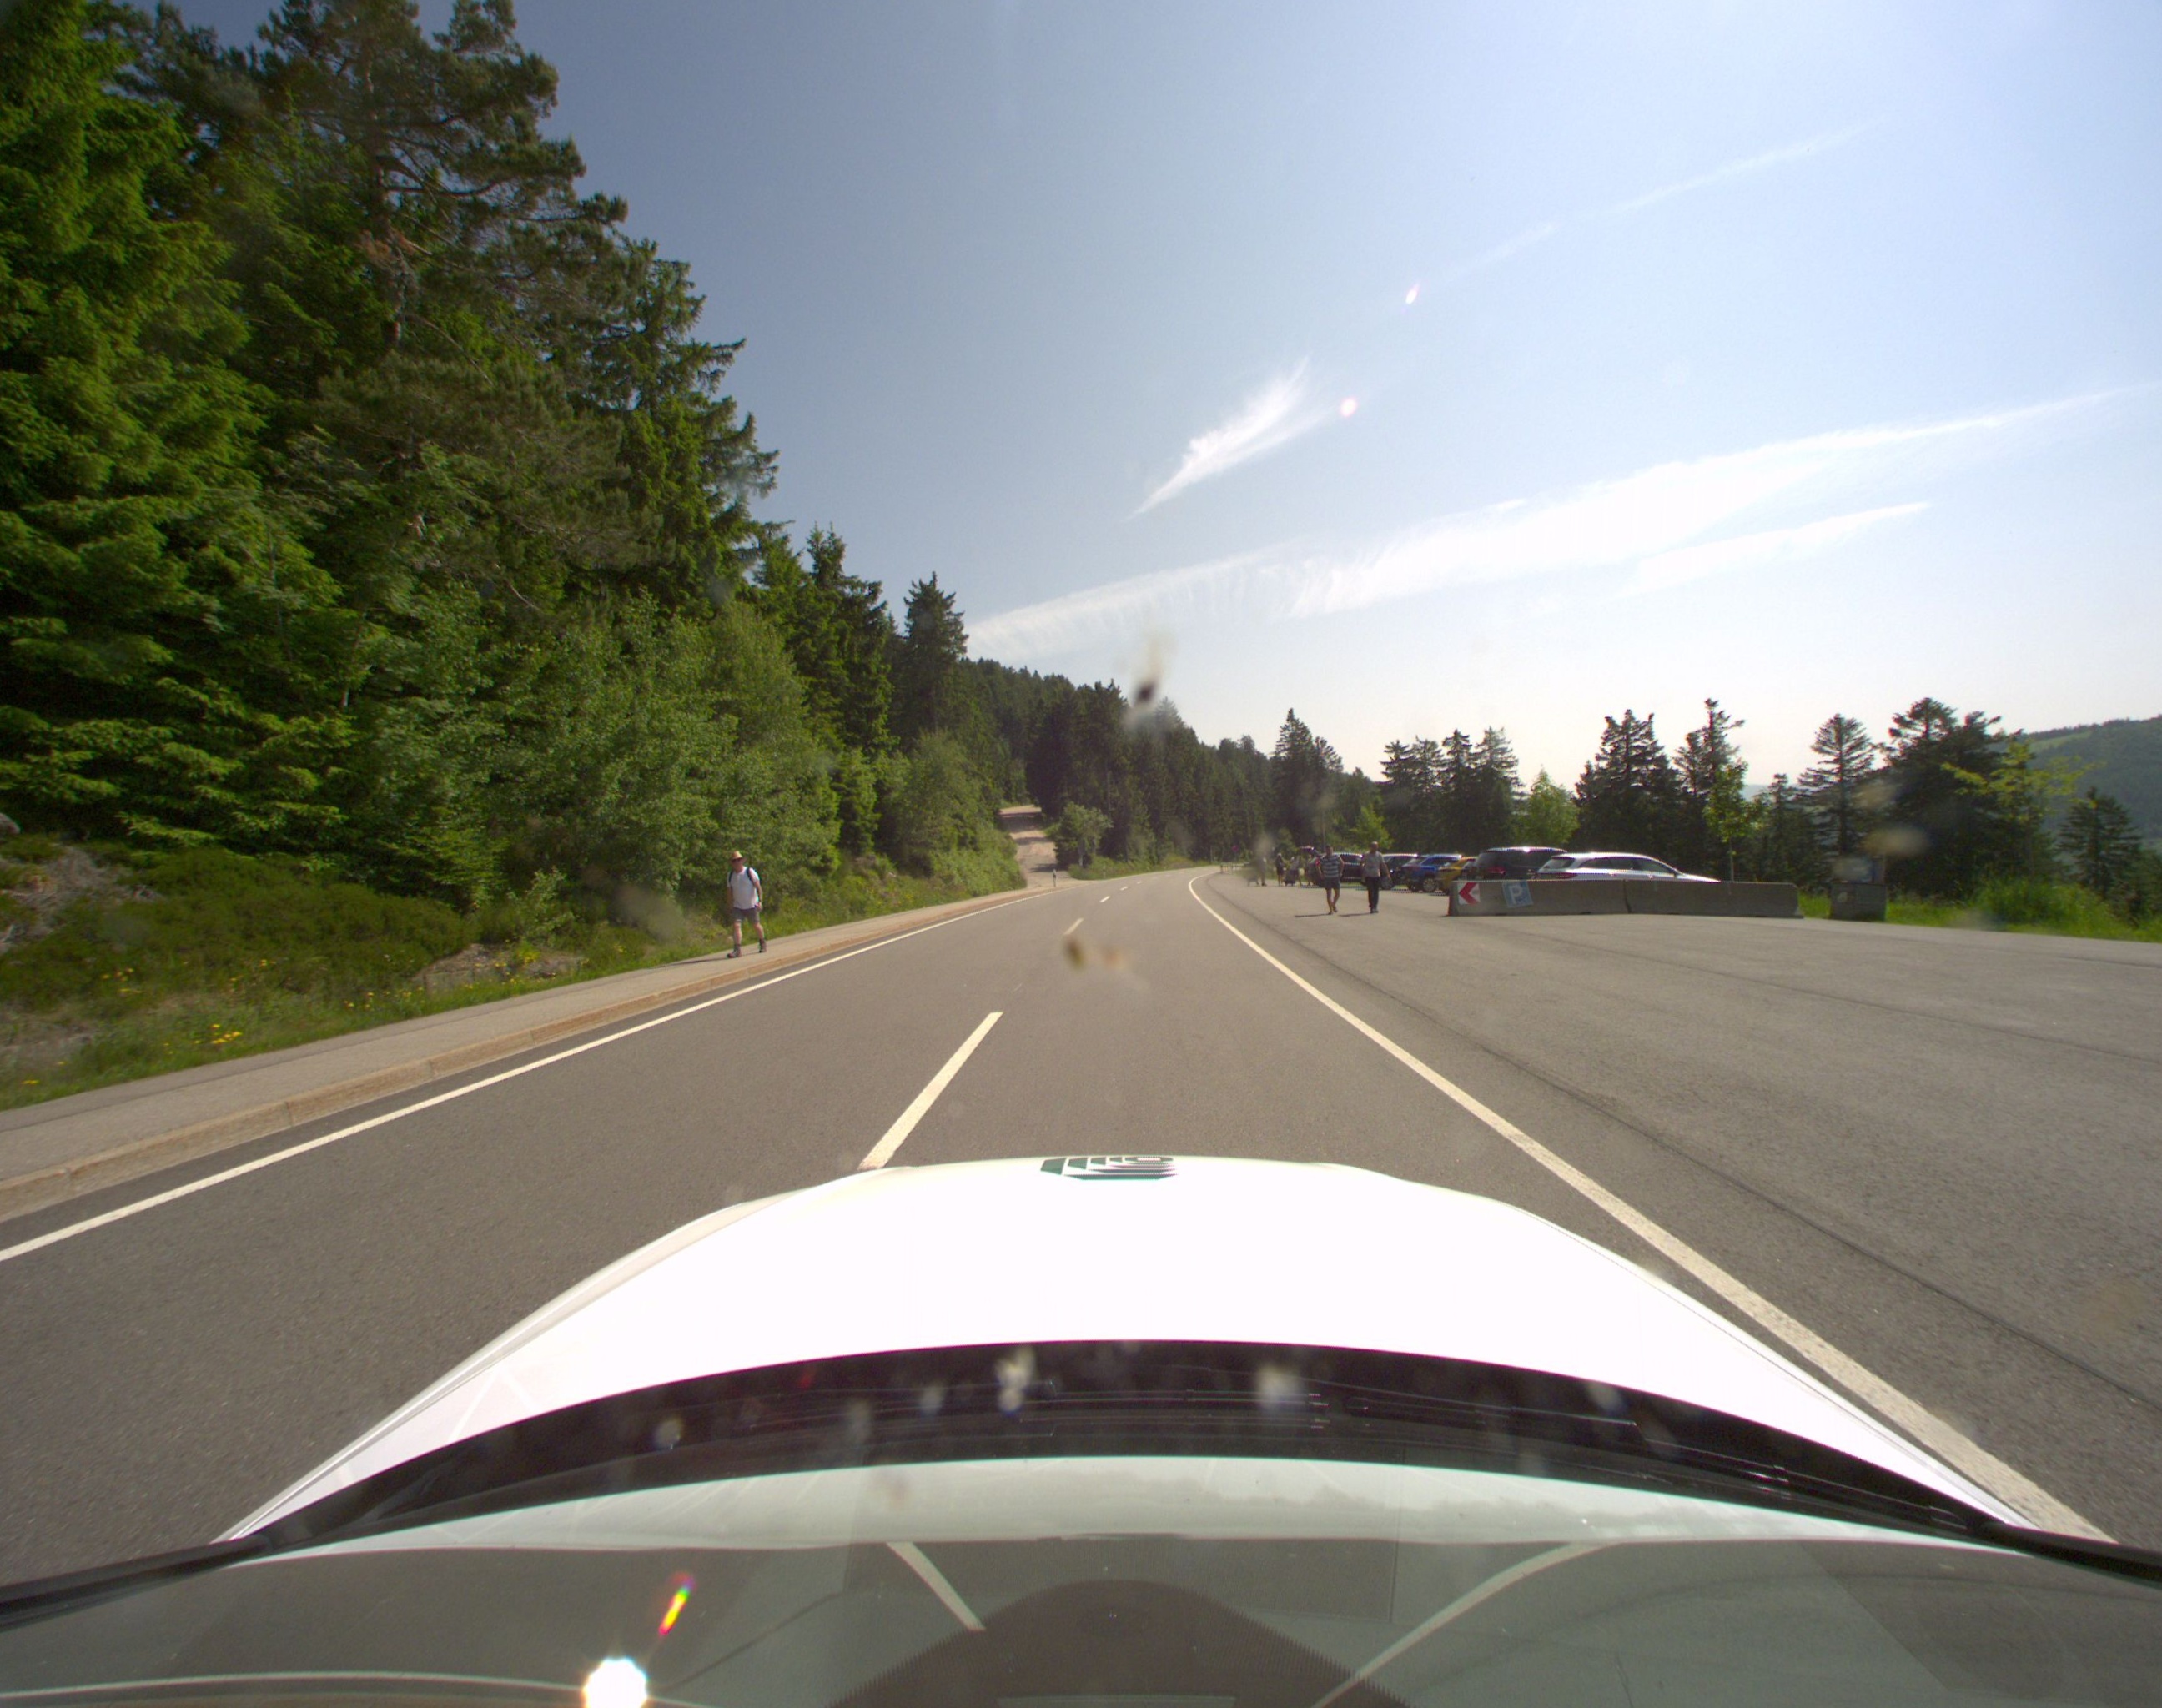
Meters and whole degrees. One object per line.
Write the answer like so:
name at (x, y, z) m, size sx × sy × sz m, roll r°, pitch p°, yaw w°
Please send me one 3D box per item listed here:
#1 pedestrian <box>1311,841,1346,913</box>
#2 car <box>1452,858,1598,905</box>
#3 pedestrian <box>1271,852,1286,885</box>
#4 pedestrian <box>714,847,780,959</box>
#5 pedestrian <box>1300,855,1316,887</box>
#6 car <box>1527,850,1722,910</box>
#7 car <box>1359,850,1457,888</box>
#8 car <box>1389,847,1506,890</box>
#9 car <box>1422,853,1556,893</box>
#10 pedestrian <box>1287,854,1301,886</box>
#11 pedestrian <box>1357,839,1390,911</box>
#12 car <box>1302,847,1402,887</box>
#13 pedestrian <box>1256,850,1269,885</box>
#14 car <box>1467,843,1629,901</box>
pedestrian at (6.217, 0.560, 20.463) m, size 0.748 × 1.760 × 0.779 m, roll -2°, pitch 0°, yaw 17°
car at (14.901, 0.911, 27.471) m, size 3.981 × 1.436 × 1.764 m, roll 1°, pitch -1°, yaw 2°
pedestrian at (10.062, 0.734, 41.490) m, size 0.711 × 1.692 × 0.620 m, roll -1°, pitch -1°, yaw 10°
pedestrian at (-5.407, 0.766, 13.218) m, size 0.680 × 1.746 × 0.825 m, roll -1°, pitch 0°, yaw 0°
pedestrian at (11.676, 0.855, 41.923) m, size 0.611 × 1.587 × 0.739 m, roll -3°, pitch 1°, yaw 23°
car at (14.196, 0.665, 21.416) m, size 3.973 × 1.476 × 1.773 m, roll 0°, pitch 0°, yaw 0°
car at (14.568, 0.670, 36.369) m, size 3.743 × 1.567 × 1.598 m, roll -1°, pitch -1°, yaw -3°
car at (14.835, 0.566, 33.077) m, size 3.975 × 1.535 × 1.807 m, roll -1°, pitch 3°, yaw -1°
car at (14.959, 0.684, 30.041) m, size 3.972 × 1.353 × 1.988 m, roll -1°, pitch 0°, yaw 1°
pedestrian at (11.324, 0.846, 43.252) m, size 0.647 × 1.660 × 0.691 m, roll -3°, pitch 1°, yaw 16°
pedestrian at (7.293, 0.516, 20.331) m, size 0.659 × 1.741 × 0.898 m, roll -2°, pitch 0°, yaw 17°
car at (13.104, 0.611, 39.545) m, size 4.249 × 1.793 × 1.892 m, roll -1°, pitch 1°, yaw 0°
pedestrian at (9.364, 0.698, 42.054) m, size 0.613 × 1.775 × 0.726 m, roll -1°, pitch -1°, yaw 10°
car at (13.910, 0.529, 24.378) m, size 3.974 × 1.647 × 1.600 m, roll 1°, pitch -1°, yaw -1°
